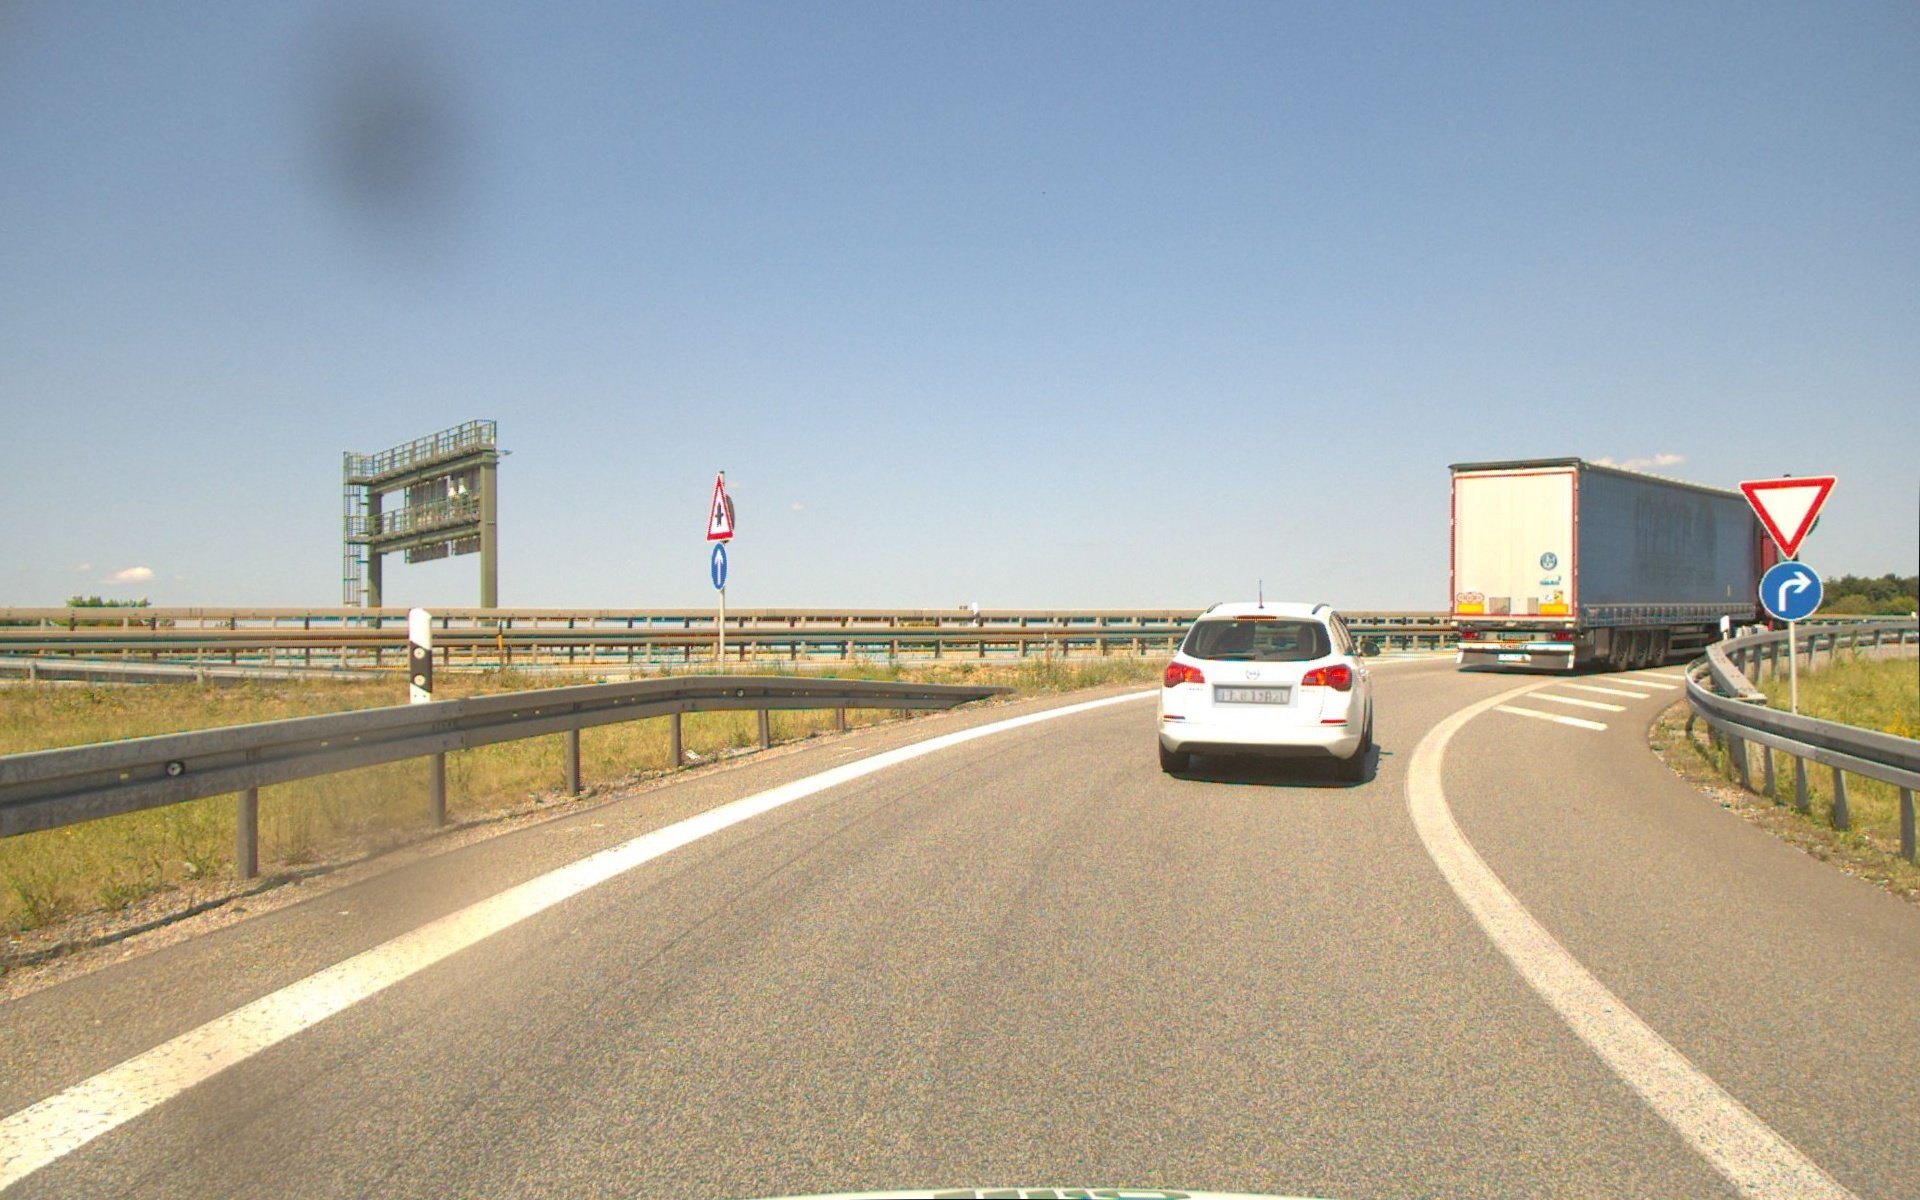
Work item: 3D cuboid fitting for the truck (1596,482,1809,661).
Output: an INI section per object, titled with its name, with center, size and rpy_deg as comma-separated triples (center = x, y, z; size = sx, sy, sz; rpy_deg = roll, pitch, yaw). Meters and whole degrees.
[truck]
center = 19.204, -0.583, 42.573
size = 2.872, 4.218, 6.878
rpy_deg = 0, -2, 44

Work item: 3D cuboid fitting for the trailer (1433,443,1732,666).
[trailer]
center = 14.029, -0.699, 36.427
size = 2.866, 4.218, 11.202
rpy_deg = 0, -2, 39

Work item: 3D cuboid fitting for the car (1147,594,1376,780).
[car]
center = 2.939, 0.726, 15.432
size = 1.815, 1.468, 4.375
rpy_deg = 0, -1, 14
